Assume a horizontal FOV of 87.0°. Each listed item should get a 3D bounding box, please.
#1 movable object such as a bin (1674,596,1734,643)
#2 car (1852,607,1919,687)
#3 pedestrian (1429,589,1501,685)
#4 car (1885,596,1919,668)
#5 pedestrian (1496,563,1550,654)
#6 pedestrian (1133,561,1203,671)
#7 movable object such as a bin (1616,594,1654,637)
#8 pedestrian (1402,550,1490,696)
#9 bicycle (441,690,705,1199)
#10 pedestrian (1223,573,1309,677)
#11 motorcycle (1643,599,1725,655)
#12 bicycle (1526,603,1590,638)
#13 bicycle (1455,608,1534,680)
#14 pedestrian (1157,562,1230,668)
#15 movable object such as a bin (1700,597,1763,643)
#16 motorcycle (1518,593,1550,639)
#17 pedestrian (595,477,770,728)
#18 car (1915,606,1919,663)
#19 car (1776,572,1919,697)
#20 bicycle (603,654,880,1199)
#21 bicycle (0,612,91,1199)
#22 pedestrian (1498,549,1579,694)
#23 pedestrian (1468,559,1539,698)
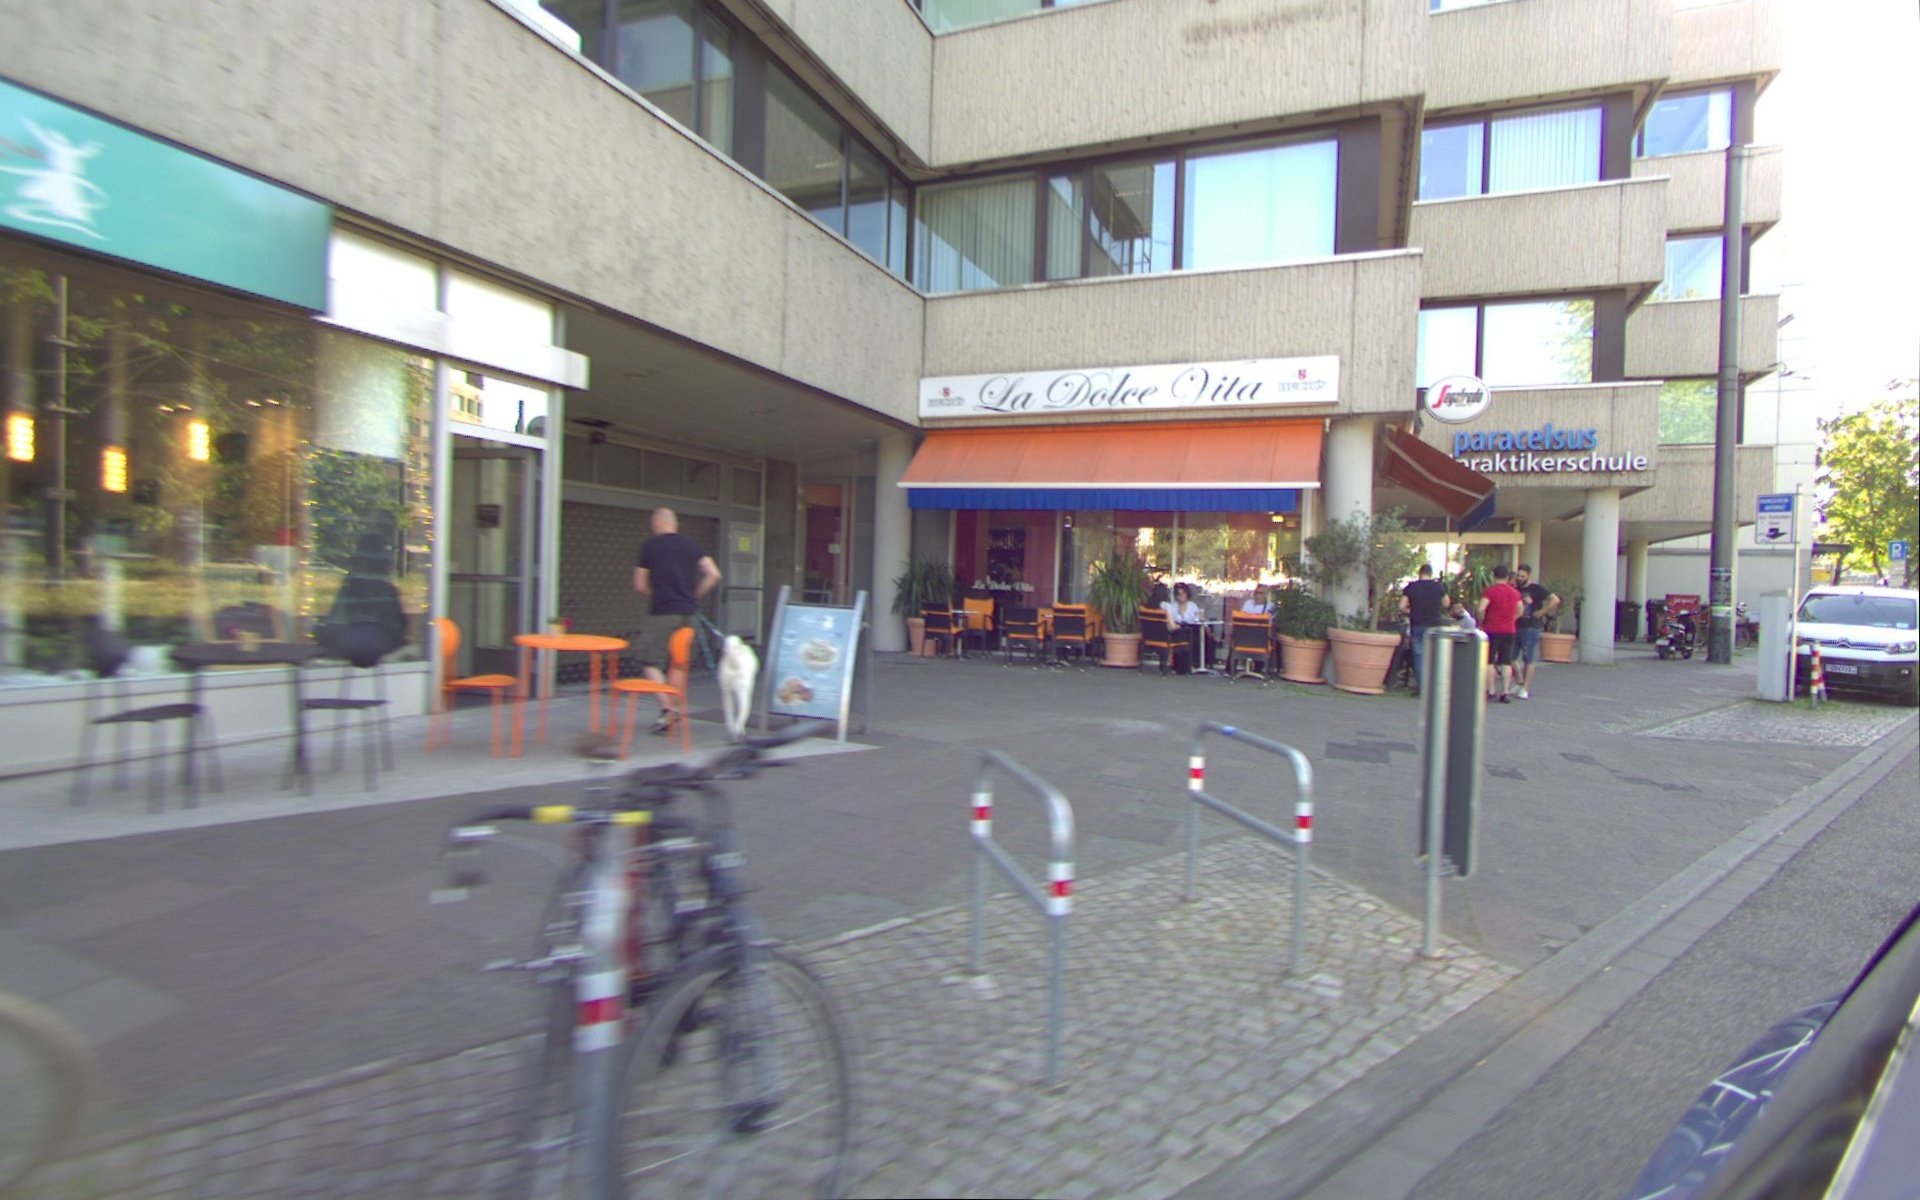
[{"bbox_3d":[23.721,0.613,32.266,0.940,1.451,1.305,0,0,-33],"label":"movable object such as a bin"},{"bbox_3d":[20.400,0.928,21.276,4.646,1.472,1.778,-1,1,-40],"label":"car"},{"bbox_3d":[6.978,0.498,13.982,0.613,1.251,0.632,0,3,-38],"label":"pedestrian"},{"bbox_3d":[24.978,0.779,25.714,3.801,1.710,1.854,-1,1,-42],"label":"car"},{"bbox_3d":[11.606,0.163,20.891,0.703,1.839,0.706,0,0,-2],"label":"pedestrian"},{"bbox_3d":[2.794,0.203,13.527,0.833,1.420,0.748,0,-1,19],"label":"pedestrian"},{"bbox_3d":[22.559,0.502,33.843,0.836,1.401,0.795,0,0,-33],"label":"movable object such as a bin"},{"bbox_3d":[6.101,0.263,12.743,0.834,1.731,0.715,3,2,21],"label":"pedestrian"},{"bbox_3d":[-1.010,0.818,2.494,0.419,1.017,1.712,0,1,-25],"label":"bicycle"},{"bbox_3d":[4.150,0.314,13.724,0.839,1.308,0.820,4,3,37],"label":"pedestrian"},{"bbox_3d":[16.630,0.596,23.229,2.007,1.168,0.767,0,4,-32],"label":"motorcycle"},{"bbox_3d":[18.033,0.605,30.561,0.668,0.993,1.860,1,0,-7],"label":"bicycle"},{"bbox_3d":[8.396,0.666,15.867,1.616,1.047,0.564,-1,0,-41],"label":"bicycle"},{"bbox_3d":[3.285,0.203,14.184,0.835,1.420,0.824,1,0,24],"label":"pedestrian"},{"bbox_3d":[24.881,0.626,32.627,1.100,1.415,1.340,0,0,-34],"label":"movable object such as a bin"},{"bbox_3d":[15.584,0.433,27.474,0.510,1.183,2.073,0,-1,36],"label":"motorcycle"},{"bbox_3d":[-2.166,0.008,7.842,1.113,1.764,1.024,0,0,-28],"label":"pedestrian"},{"bbox_3d":[28.078,0.936,28.163,4.124,1.537,1.675,-1,1,-39],"label":"car"},{"bbox_3d":[15.254,0.477,16.834,4.236,1.835,1.996,-1,1,-42],"label":"car"},{"bbox_3d":[-0.666,0.734,2.646,0.336,1.075,1.687,0,1,-25],"label":"bicycle"},{"bbox_3d":[-2.032,0.669,1.479,0.645,1.259,1.630,0,0,-21],"label":"bicycle"},{"bbox_3d":[7.805,0.268,13.661,0.599,1.878,0.673,0,4,-38],"label":"pedestrian"},{"bbox_3d":[7.009,0.347,13.051,0.685,1.736,0.585,0,0,-38],"label":"pedestrian"}]
